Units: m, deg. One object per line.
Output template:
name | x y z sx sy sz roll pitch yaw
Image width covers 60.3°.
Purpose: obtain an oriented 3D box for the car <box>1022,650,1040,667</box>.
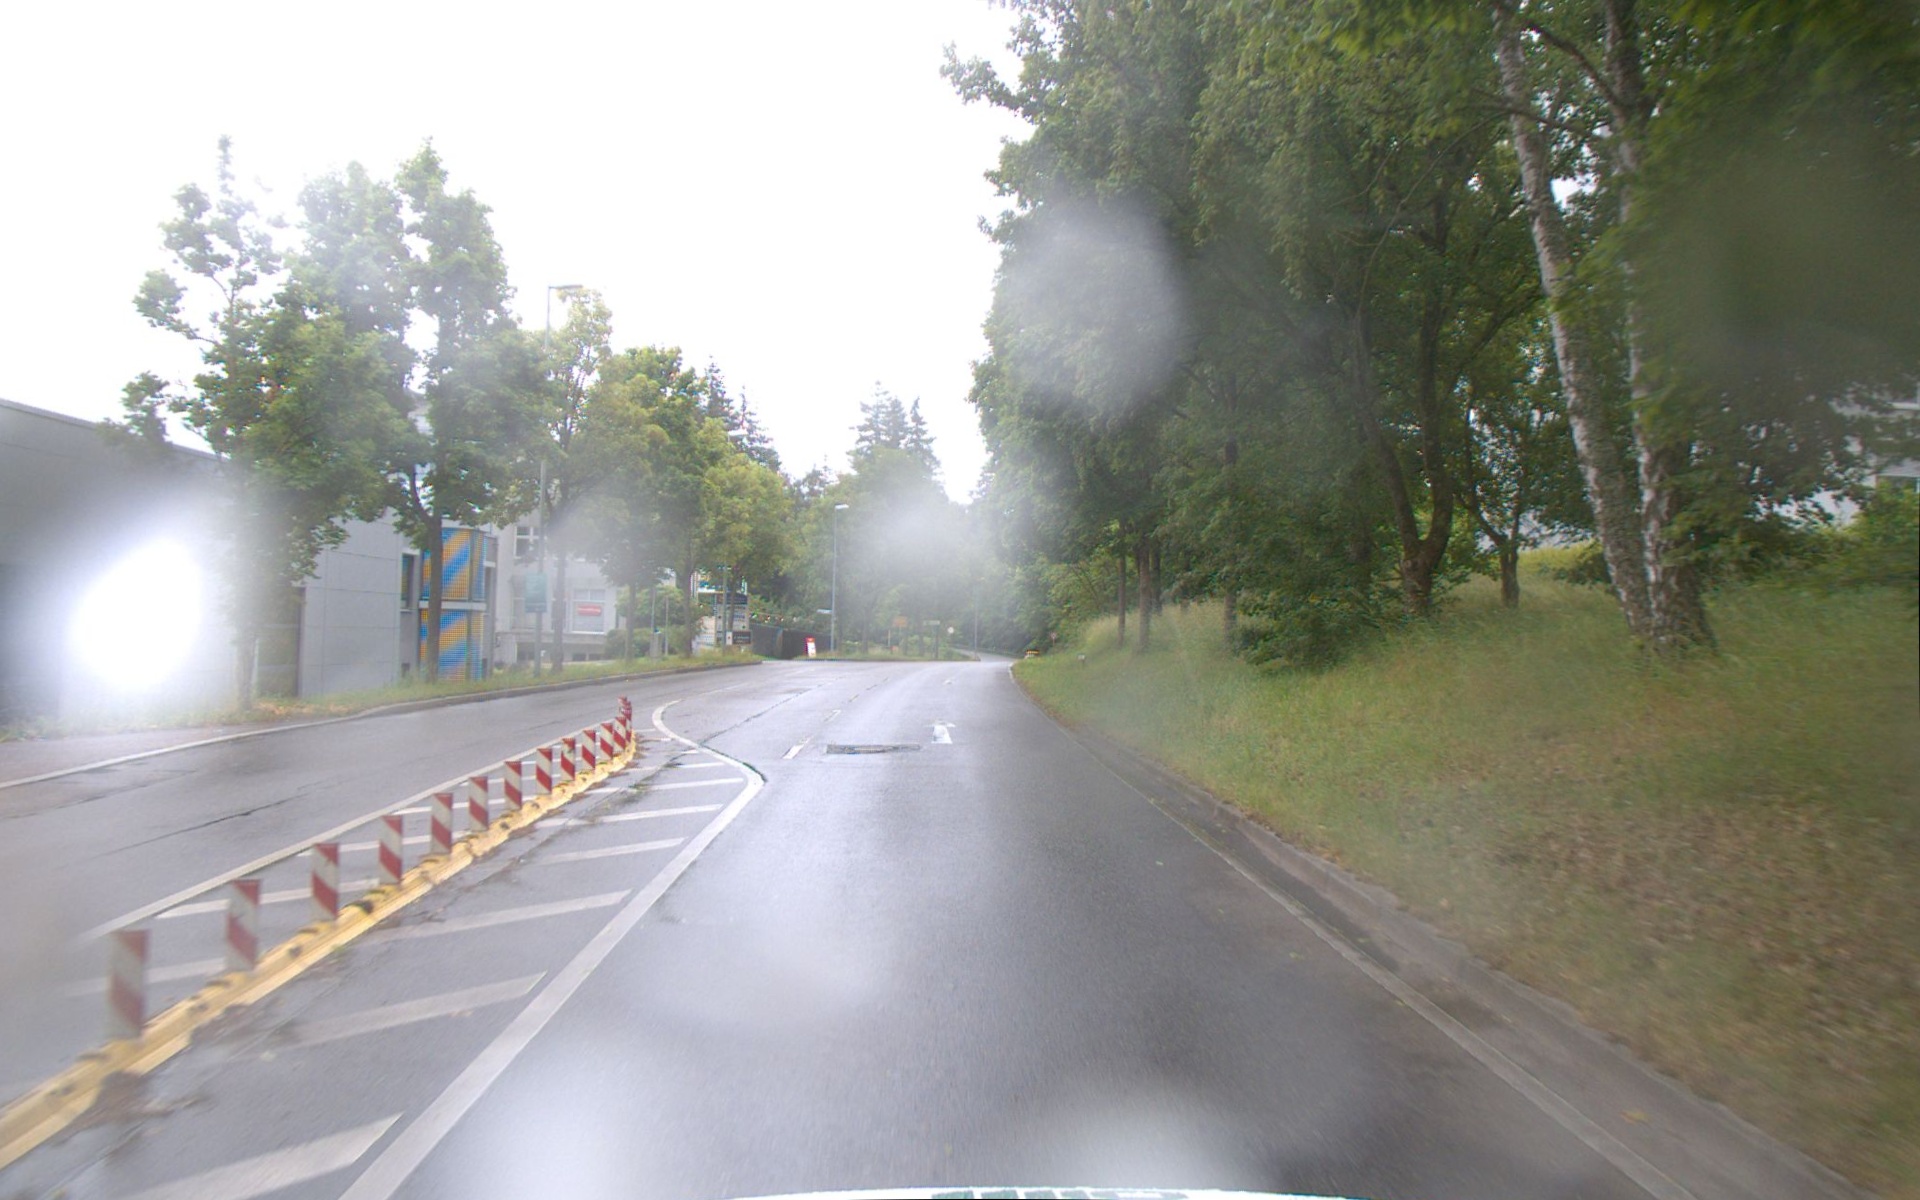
car | 6.928 5.719 162.041 1.700 1.537 4.000 -1 -2 2
